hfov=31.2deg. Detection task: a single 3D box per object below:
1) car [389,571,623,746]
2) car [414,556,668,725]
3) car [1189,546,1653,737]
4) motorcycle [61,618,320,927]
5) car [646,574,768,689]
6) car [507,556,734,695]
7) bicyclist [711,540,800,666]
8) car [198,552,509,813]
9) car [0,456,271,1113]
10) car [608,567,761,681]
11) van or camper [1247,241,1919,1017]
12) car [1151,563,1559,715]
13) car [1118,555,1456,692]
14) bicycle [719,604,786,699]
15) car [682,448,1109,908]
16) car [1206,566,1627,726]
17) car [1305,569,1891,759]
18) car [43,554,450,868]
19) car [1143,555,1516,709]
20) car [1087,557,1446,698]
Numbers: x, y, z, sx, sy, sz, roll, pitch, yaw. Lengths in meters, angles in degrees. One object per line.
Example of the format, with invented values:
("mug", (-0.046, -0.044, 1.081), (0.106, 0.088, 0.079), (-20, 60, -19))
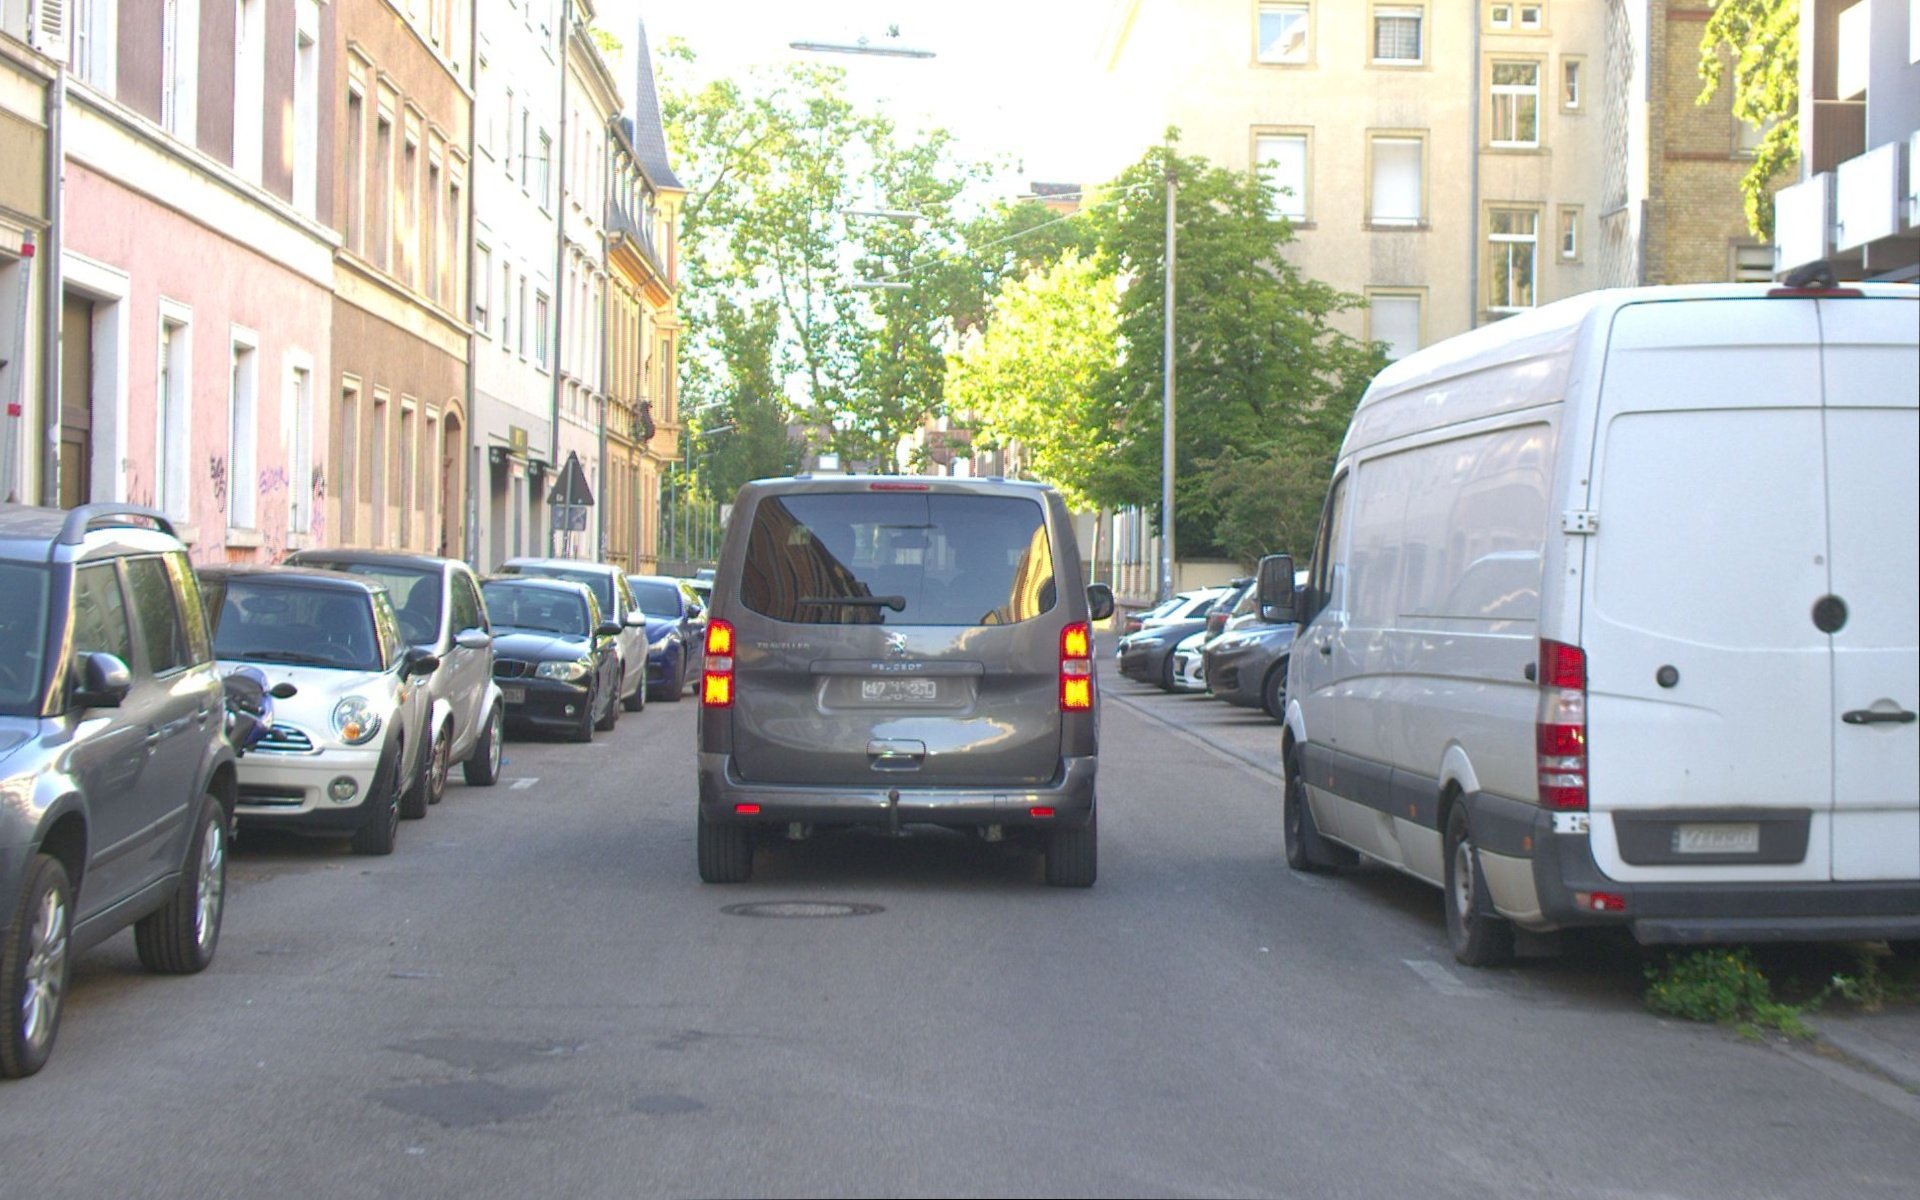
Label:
("car", (-4.035, 0.475, 31.166), (1.788, 1.393, 4.468), (2, 1, -4))
("car", (-4.315, 0.376, 36.074), (1.993, 1.599, 4.585), (2, 1, 1))
("car", (4.841, 0.423, 36.593), (4.569, 1.852, 2.000), (2, 1, -2))
("motorcycle", (-3.427, 0.725, 15.521), (0.710, 1.230, 2.475), (1, 1, -3))
("car", (-4.427, 0.517, 60.170), (1.993, 1.852, 4.585), (2, 1, -4))
("car", (-4.074, 0.272, 41.979), (1.994, 1.555, 4.584), (2, 1, 4))
("bicyclist", (-2.597, 0.034, 43.669), (1.034, 1.572, 0.833), (0, 0, 3))
("car", (-3.819, 0.480, 21.990), (1.386, 1.527, 2.749), (2, 1, 2))
("car", (-3.541, 0.443, 11.162), (1.863, 1.745, 4.294), (2, 1, -2))
("car", (-4.114, 0.322, 51.580), (2.144, 1.555, 4.585), (2, 1, -4))
("van or camper", (2.808, 0.066, 15.290), (2.099, 2.593, 7.513), (0, 1, -3))
("car", (4.807, 0.461, 42.186), (4.568, 1.699, 2.001), (2, 1, -8))
("car", (4.777, 0.335, 50.578), (4.568, 1.852, 2.001), (2, 1, -8))
("bicycle", (-2.602, 0.628, 43.288), (0.621, 1.134, 2.257), (0, 1, 2))
("car", (-0.287, 0.316, 17.144), (1.857, 2.007, 4.000), (-1, 1, 0))
("car", (5.197, 0.510, 39.462), (4.454, 1.670, 1.797), (2, 1, -6))
("car", (5.394, 0.521, 29.466), (4.625, 1.461, 1.841), (-1, 1, -1))
("car", (-3.771, 0.521, 18.732), (1.710, 1.492, 3.856), (2, 1, -5))
("car", (4.785, 0.405, 44.838), (4.472, 1.852, 1.885), (2, 1, -8))
("car", (4.203, 0.371, 47.591), (4.568, 1.786, 2.001), (2, 1, -8))
